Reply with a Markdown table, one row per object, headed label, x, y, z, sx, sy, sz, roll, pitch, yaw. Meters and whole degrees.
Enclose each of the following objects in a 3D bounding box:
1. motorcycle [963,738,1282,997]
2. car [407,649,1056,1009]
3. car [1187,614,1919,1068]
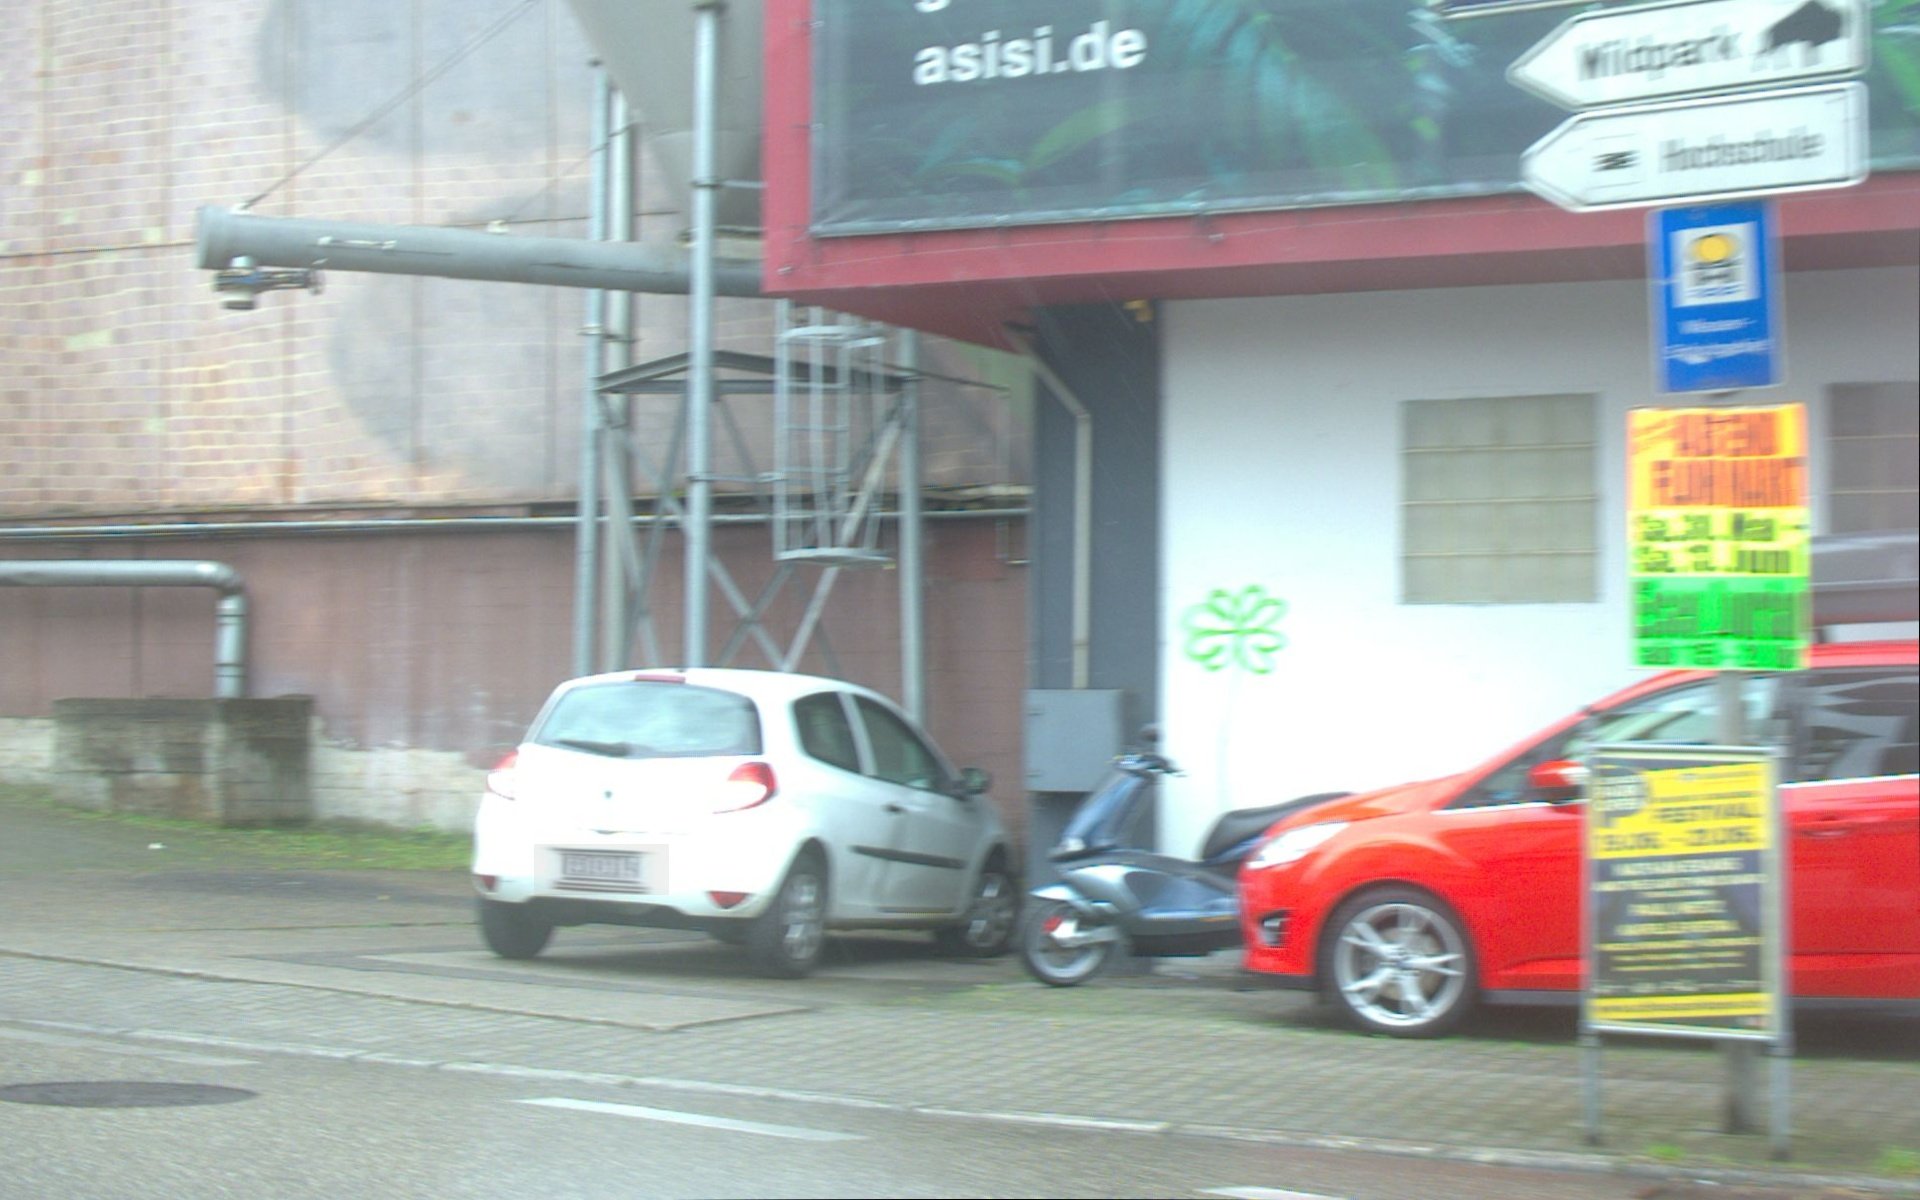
| label | x | y | z | sx | sy | sz | roll | pitch | yaw |
| --- | --- | --- | --- | --- | --- | --- | --- | --- | --- |
| motorcycle | 0.767 | 1.240 | 16.142 | 1.419 | 1.157 | 0.452 | 0 | -2 | 13 |
| car | -1.073 | 1.102 | 18.245 | 1.871 | 1.528 | 3.988 | 1 | 1 | 22 |
| car | 3.393 | 0.939 | 14.291 | 4.483 | 1.706 | 1.930 | 0 | -1 | 26 |
